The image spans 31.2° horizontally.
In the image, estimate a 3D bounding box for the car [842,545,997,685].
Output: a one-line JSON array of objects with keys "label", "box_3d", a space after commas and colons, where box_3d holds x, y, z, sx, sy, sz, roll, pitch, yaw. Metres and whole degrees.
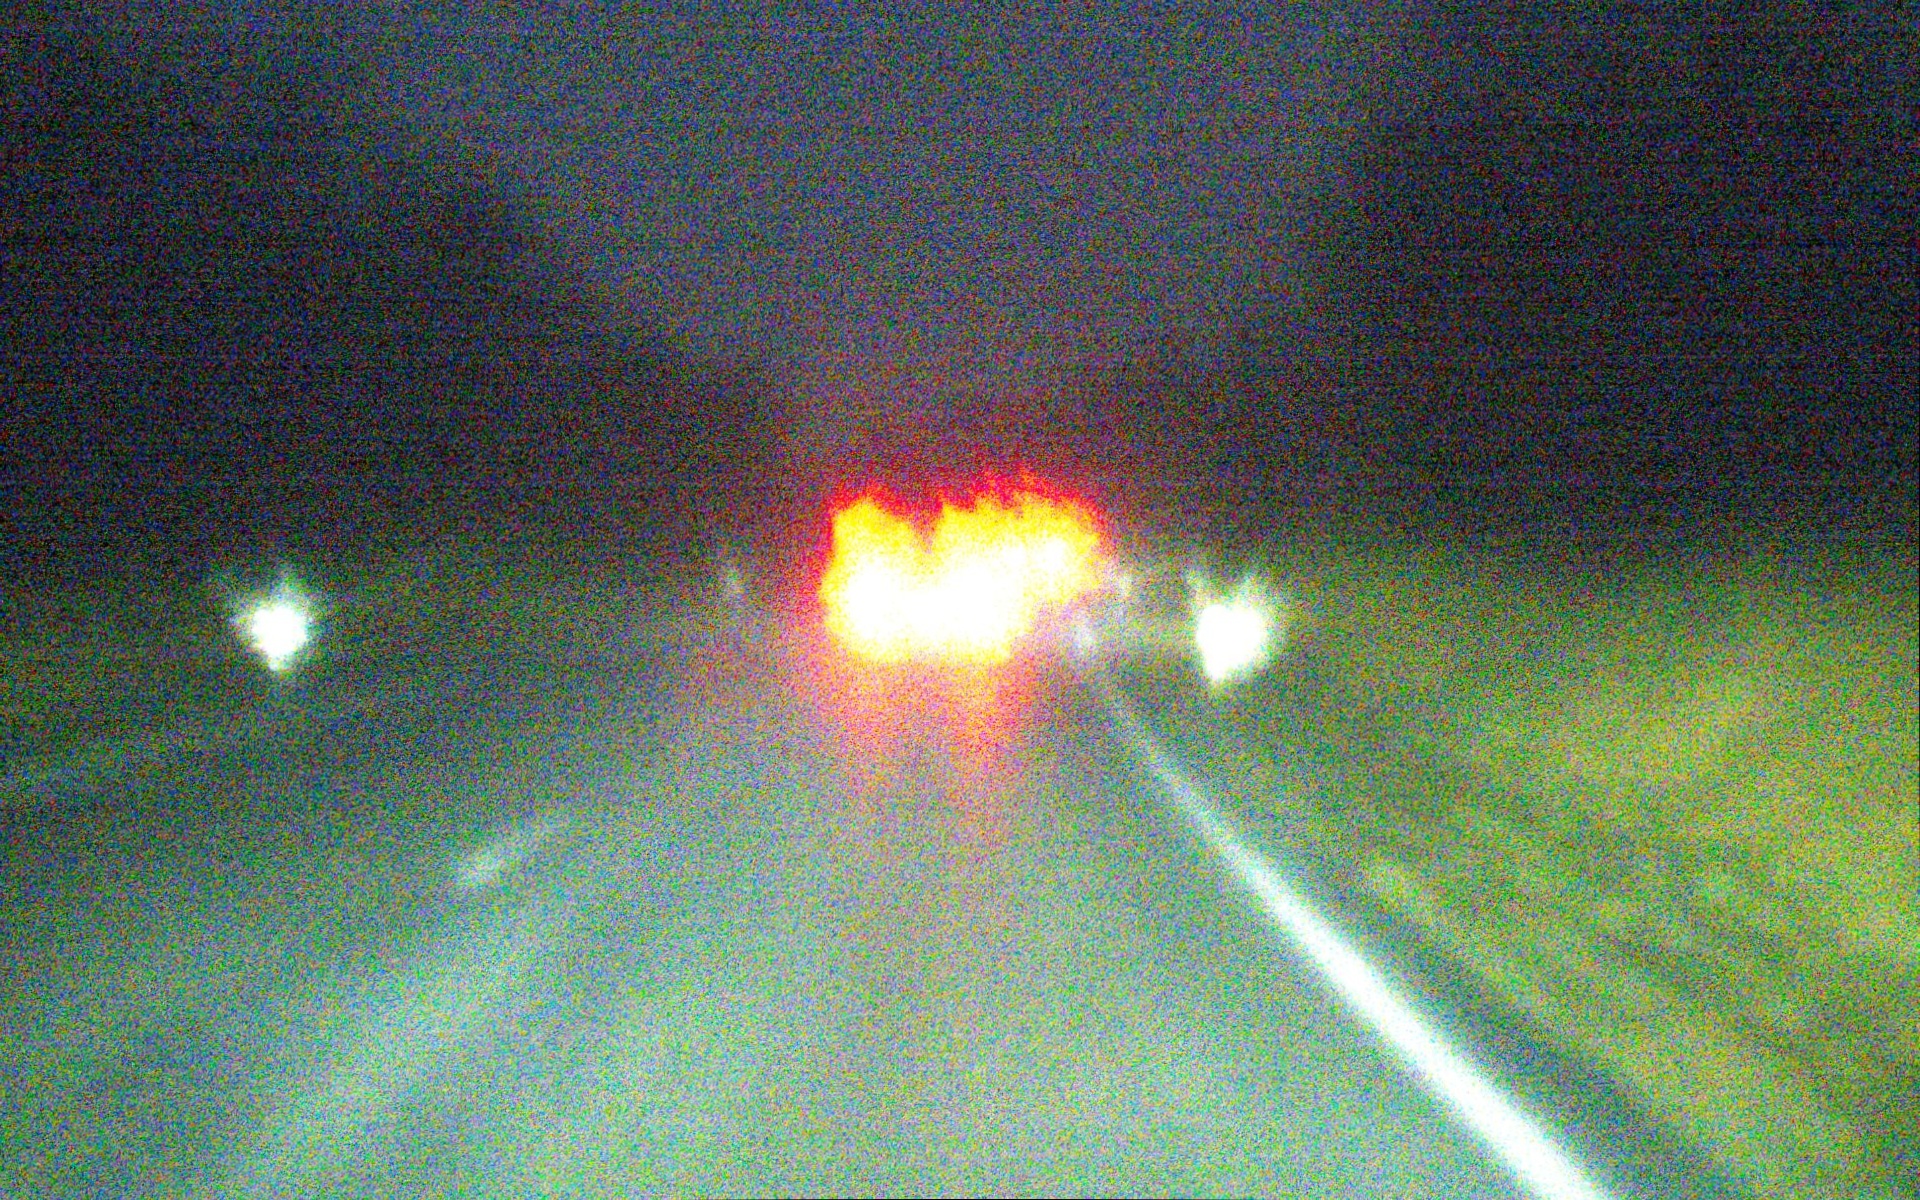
[{"label": "car", "box_3d": [-0.487, 0.157, 44.835, 1.842, 1.734, 4.000, 0, 1, 2]}]
